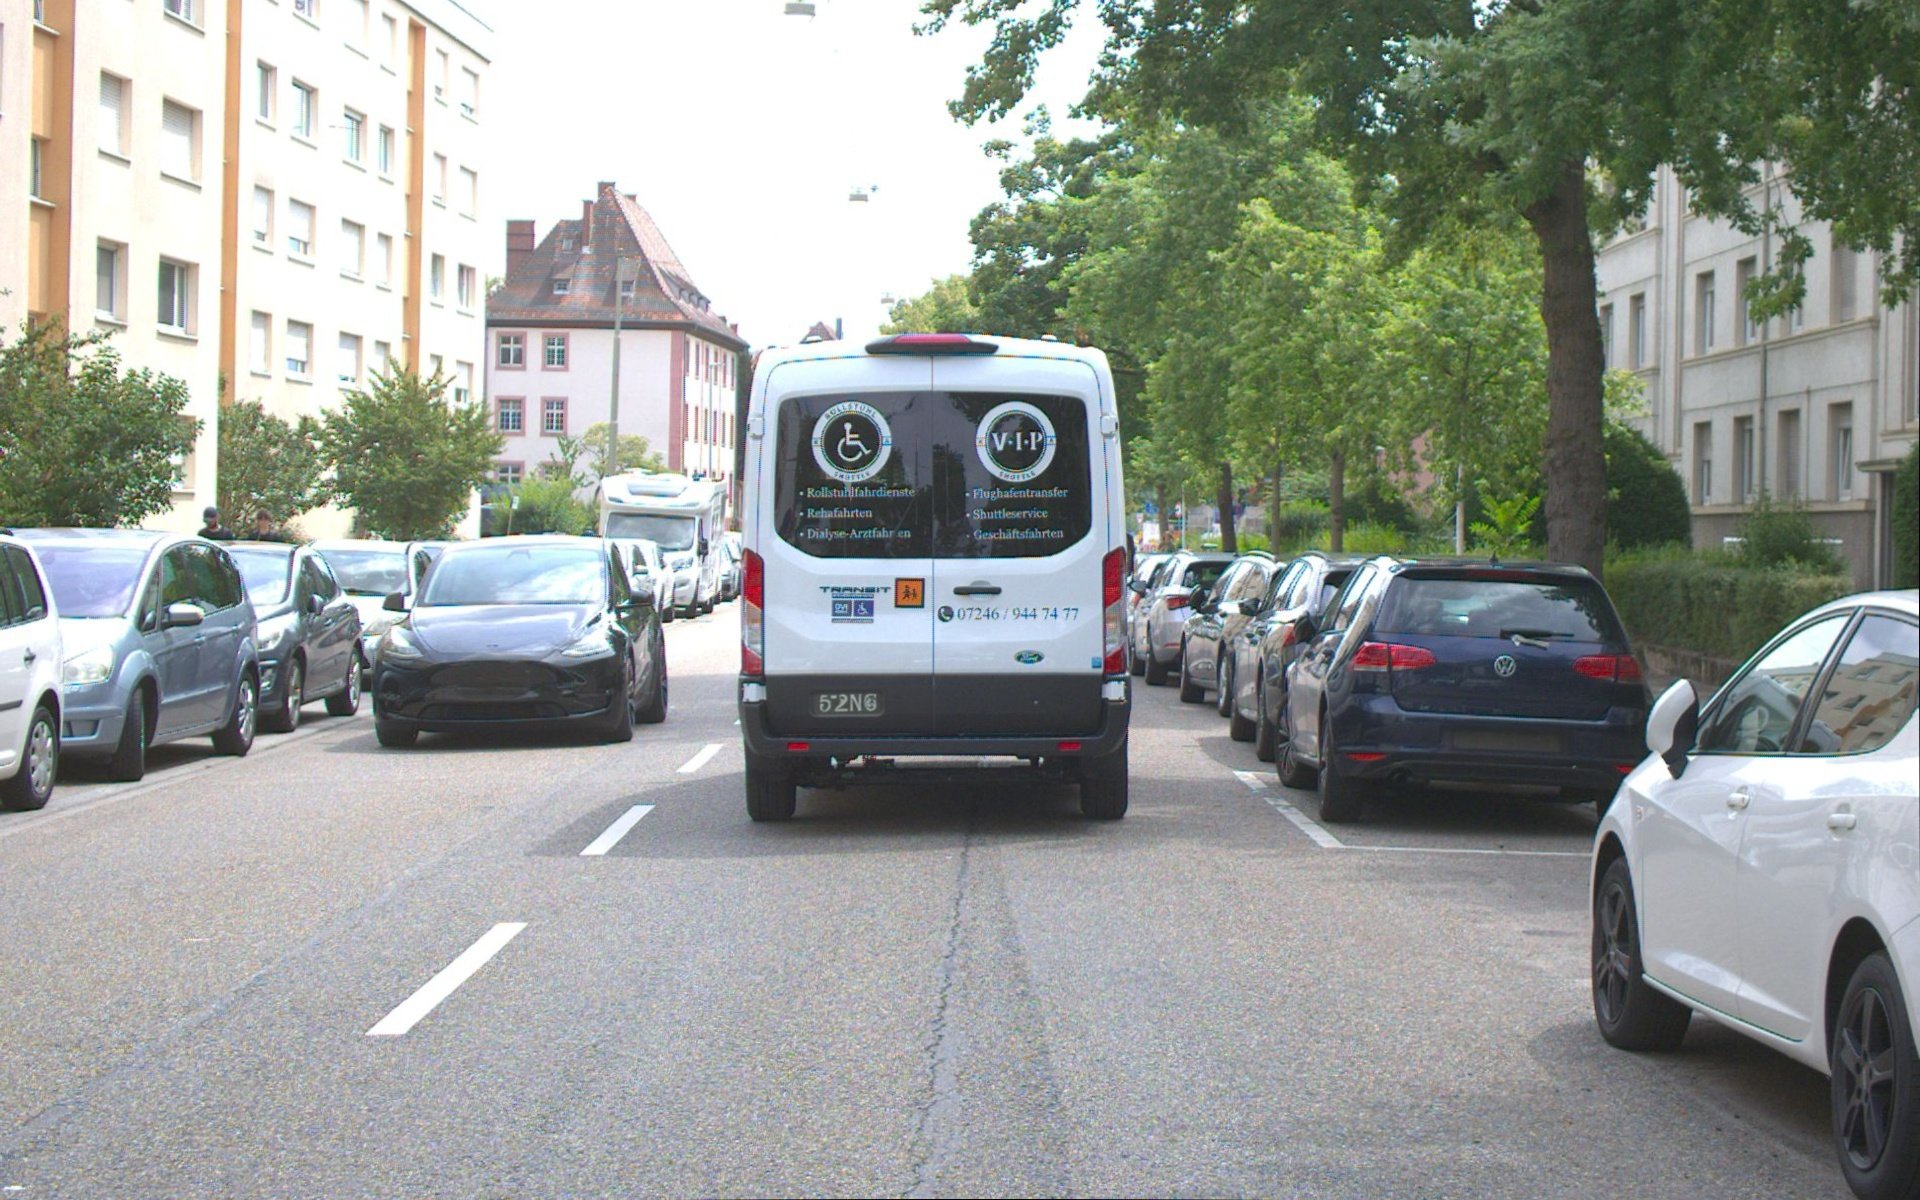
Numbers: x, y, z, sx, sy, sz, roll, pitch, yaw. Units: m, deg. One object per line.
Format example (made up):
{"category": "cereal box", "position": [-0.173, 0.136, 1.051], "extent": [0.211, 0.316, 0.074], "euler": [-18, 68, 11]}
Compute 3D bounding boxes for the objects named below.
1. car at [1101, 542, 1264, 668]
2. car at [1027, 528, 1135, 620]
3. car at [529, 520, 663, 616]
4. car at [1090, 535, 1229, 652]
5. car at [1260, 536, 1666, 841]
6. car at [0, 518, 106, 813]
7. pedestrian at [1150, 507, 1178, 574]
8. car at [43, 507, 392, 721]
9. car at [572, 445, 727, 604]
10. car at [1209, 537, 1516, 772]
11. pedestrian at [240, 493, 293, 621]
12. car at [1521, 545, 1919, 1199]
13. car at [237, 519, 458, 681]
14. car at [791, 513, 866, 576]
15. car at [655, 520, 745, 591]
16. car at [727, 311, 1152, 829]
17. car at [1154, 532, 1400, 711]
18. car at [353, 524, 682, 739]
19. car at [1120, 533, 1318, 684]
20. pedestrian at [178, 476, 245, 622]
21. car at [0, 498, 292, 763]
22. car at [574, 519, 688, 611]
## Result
{"category": "car", "position": [2.744, 0.029, 43.103], "extent": [1.670, 1.396, 3.852], "euler": [3, 1, -1]}
{"category": "car", "position": [2.279, -0.519, 65.497], "extent": [1.659, 1.577, 4.286], "euler": [4, 1, -2]}
{"category": "car", "position": [-6.206, -0.577, 58.990], "extent": [1.755, 1.574, 4.568], "euler": [0, 1, 1]}
{"category": "car", "position": [2.780, -0.133, 48.239], "extent": [1.780, 1.464, 4.614], "euler": [3, 1, 3]}
{"category": "car", "position": [2.744, 0.415, 19.593], "extent": [1.697, 1.464, 4.101], "euler": [3, 1, 1]}
{"category": "car", "position": [-6.130, 0.345, 18.620], "extent": [1.697, 1.607, 4.477], "euler": [3, 1, 2]}
{"category": "pedestrian", "position": [5.585, -1.641, 94.225], "extent": [0.522, 1.822, 0.523], "euler": [-1, 2, -42]}
{"category": "car", "position": [-6.217, 0.063, 29.277], "extent": [1.942, 1.607, 4.302], "euler": [2, 1, 1]}
{"category": "car", "position": [-6.333, -1.564, 71.082], "extent": [2.510, 3.013, 7.397], "euler": [2, 1, -1]}
{"category": "car", "position": [2.839, 0.322, 25.101], "extent": [1.697, 1.464, 4.560], "euler": [3, 1, 1]}
{"category": "pedestrian", "position": [-9.939, -0.618, 49.279], "extent": [0.619, 1.807, 0.804], "euler": [0, 1, -2]}
{"category": "car", "position": [2.747, 0.619, 9.133], "extent": [1.697, 1.445, 4.102], "euler": [2, 1, -2]}
{"category": "car", "position": [-6.446, -0.044, 36.541], "extent": [1.670, 1.556, 3.852], "euler": [2, 1, -1]}
{"category": "car", "position": [-3.377, -1.449, 88.790], "extent": [1.818, 1.580, 4.436], "euler": [0, 1, -1]}
{"category": "car", "position": [-6.277, -1.100, 83.350], "extent": [1.885, 1.574, 5.220], "euler": [2, 1, -2]}
{"category": "car", "position": [-0.172, -0.181, 19.152], "extent": [2.070, 2.531, 4.635], "euler": [0, 1, -2]}
{"category": "car", "position": [2.898, 0.144, 32.340], "extent": [1.697, 1.464, 4.754], "euler": [2, 1, -1]}
{"category": "car", "position": [-3.391, 0.176, 27.210], "extent": [1.951, 1.516, 4.613], "euler": [-1, 1, 0]}
{"category": "car", "position": [2.781, 0.046, 37.840], "extent": [1.697, 1.464, 4.718], "euler": [2, 1, -1]}
{"category": "pedestrian", "position": [-9.450, -0.643, 43.418], "extent": [0.619, 1.807, 0.899], "euler": [2, 1, -2]}
{"category": "car", "position": [-6.200, 0.121, 24.001], "extent": [1.942, 1.607, 4.861], "euler": [3, 1, 2]}
{"category": "car", "position": [-6.105, -0.682, 64.169], "extent": [1.688, 1.574, 4.594], "euler": [2, 1, -1]}
